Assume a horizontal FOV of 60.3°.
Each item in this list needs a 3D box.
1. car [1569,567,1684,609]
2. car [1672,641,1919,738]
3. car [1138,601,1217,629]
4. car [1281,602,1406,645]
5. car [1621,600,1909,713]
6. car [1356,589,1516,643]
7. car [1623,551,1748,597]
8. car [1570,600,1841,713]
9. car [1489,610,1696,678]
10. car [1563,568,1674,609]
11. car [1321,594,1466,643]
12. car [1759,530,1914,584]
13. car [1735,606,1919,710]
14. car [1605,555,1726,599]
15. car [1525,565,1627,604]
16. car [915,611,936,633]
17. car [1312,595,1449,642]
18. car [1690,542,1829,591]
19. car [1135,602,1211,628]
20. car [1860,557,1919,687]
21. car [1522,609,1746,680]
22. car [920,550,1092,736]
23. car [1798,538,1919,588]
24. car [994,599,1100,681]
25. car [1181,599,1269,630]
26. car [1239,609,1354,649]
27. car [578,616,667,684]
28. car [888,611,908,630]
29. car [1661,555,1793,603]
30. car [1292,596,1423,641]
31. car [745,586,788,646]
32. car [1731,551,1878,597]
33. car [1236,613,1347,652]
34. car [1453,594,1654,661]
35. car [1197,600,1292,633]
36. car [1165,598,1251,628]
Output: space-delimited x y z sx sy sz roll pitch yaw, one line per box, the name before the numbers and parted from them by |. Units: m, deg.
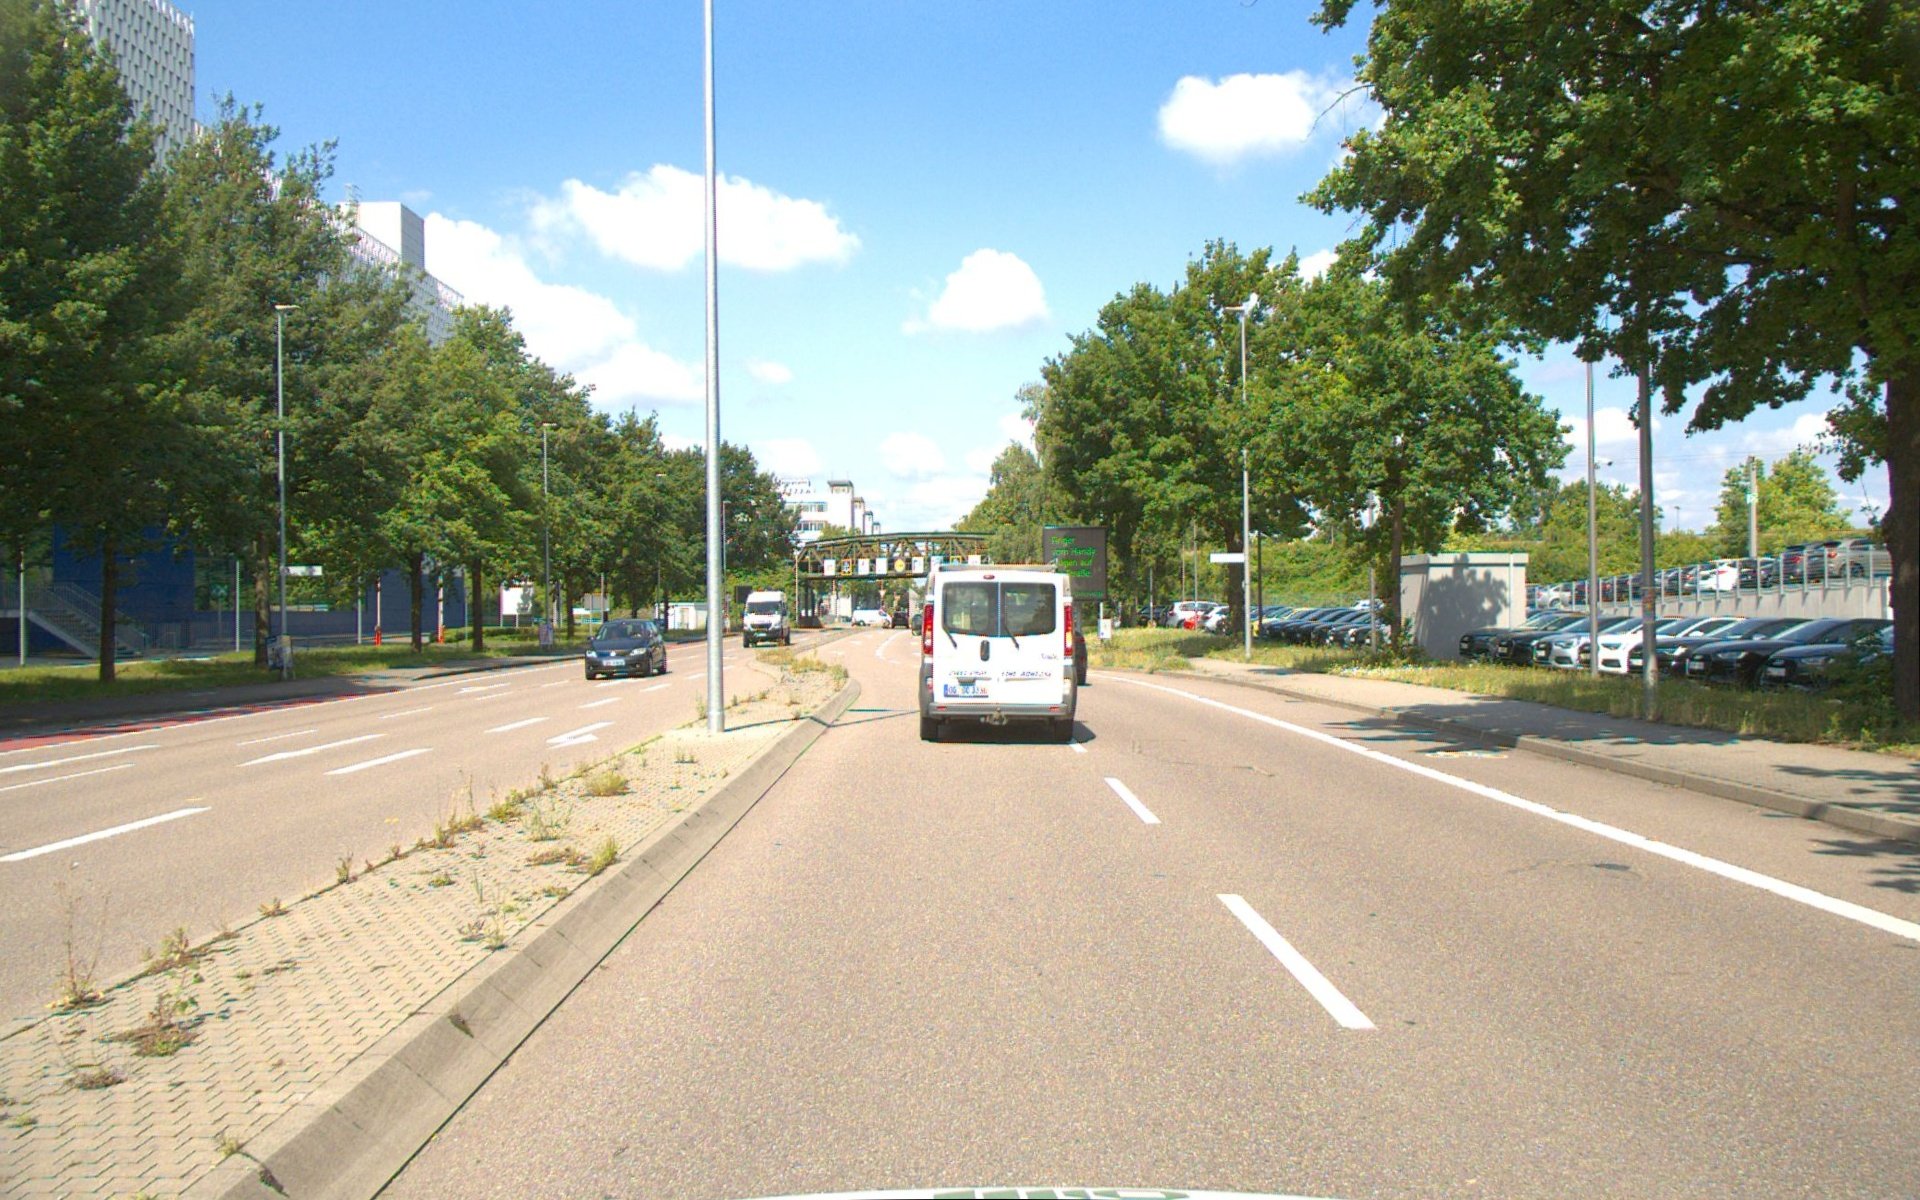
car | 29.238 -0.539 72.674 4.264 1.805 1.937 0 1 2
car | 14.435 1.459 27.367 4.482 1.429 1.907 0 1 -1
car | 12.658 0.882 96.425 4.267 1.539 1.935 0 1 -3
car | 14.599 0.892 63.102 4.267 1.539 1.935 0 1 -3
car | 14.535 1.001 30.013 4.260 1.538 1.786 5 1 -1
car | 14.360 0.458 50.023 4.267 1.539 1.935 0 1 -3
car | 29.527 -1.068 67.392 4.264 1.805 1.937 0 1 2
car | 14.612 1.078 32.593 4.482 2.085 1.907 0 1 -1
car | 14.375 0.995 37.764 4.023 1.470 1.855 0 0 -1
car | 29.824 -0.544 75.025 4.264 1.805 1.937 0 1 2
car | 14.391 0.606 55.046 4.267 1.539 1.935 0 1 -3
car | 29.928 -1.473 56.582 4.264 1.805 1.937 0 1 2
car | 14.274 0.843 24.739 4.482 1.429 1.907 0 1 -1
car | 29.571 -0.968 69.438 4.264 1.805 1.937 0 1 2
car | 29.854 -0.763 80.254 4.264 1.805 1.937 0 1 2
car | -3.370 2.153 160.898 1.953 2.049 3.999 -1 -1 -1
car | 14.611 0.631 57.585 4.267 1.539 1.935 0 1 -3
car | 29.934 -1.260 62.013 4.264 1.805 1.937 0 1 2
car | 12.886 0.904 100.257 4.267 1.539 1.935 0 1 -3
car | 14.890 0.297 22.290 4.482 1.707 1.907 0 1 -1
car | 14.313 0.923 35.275 4.023 1.429 1.817 -1 0 -1
car | 0.502 0.451 20.925 1.933 2.096 4.564 0 1 -1
car | 30.032 -1.193 54.057 4.264 1.578 1.937 0 1 2
car | 1.874 0.844 36.800 1.740 1.658 3.994 0 1 -7
car | 13.832 0.754 86.530 4.267 1.539 1.935 0 1 -3
car | 13.778 1.162 67.845 4.267 1.539 1.935 0 1 -3
car | -9.186 1.333 45.296 1.704 1.638 4.238 -4 0 -3
car | -6.399 2.078 171.635 1.952 1.802 4.001 0 1 0
car | 29.955 -0.820 64.670 4.264 1.805 1.937 0 1 2
car | 14.473 0.652 60.347 4.267 1.539 1.935 0 1 -3
car | -9.874 0.816 84.655 1.983 2.944 6.375 -1 0 -5
car | 30.287 -0.945 59.419 4.264 1.578 1.937 0 1 2
car | 14.099 1.382 70.481 4.267 1.539 1.935 0 1 -3
car | 14.482 0.666 40.522 4.266 1.539 1.855 -1 -1 -1
car | 13.943 0.806 81.276 4.267 1.539 1.935 0 1 -3
car | 13.401 0.710 89.514 4.267 1.539 1.935 0 1 -3
